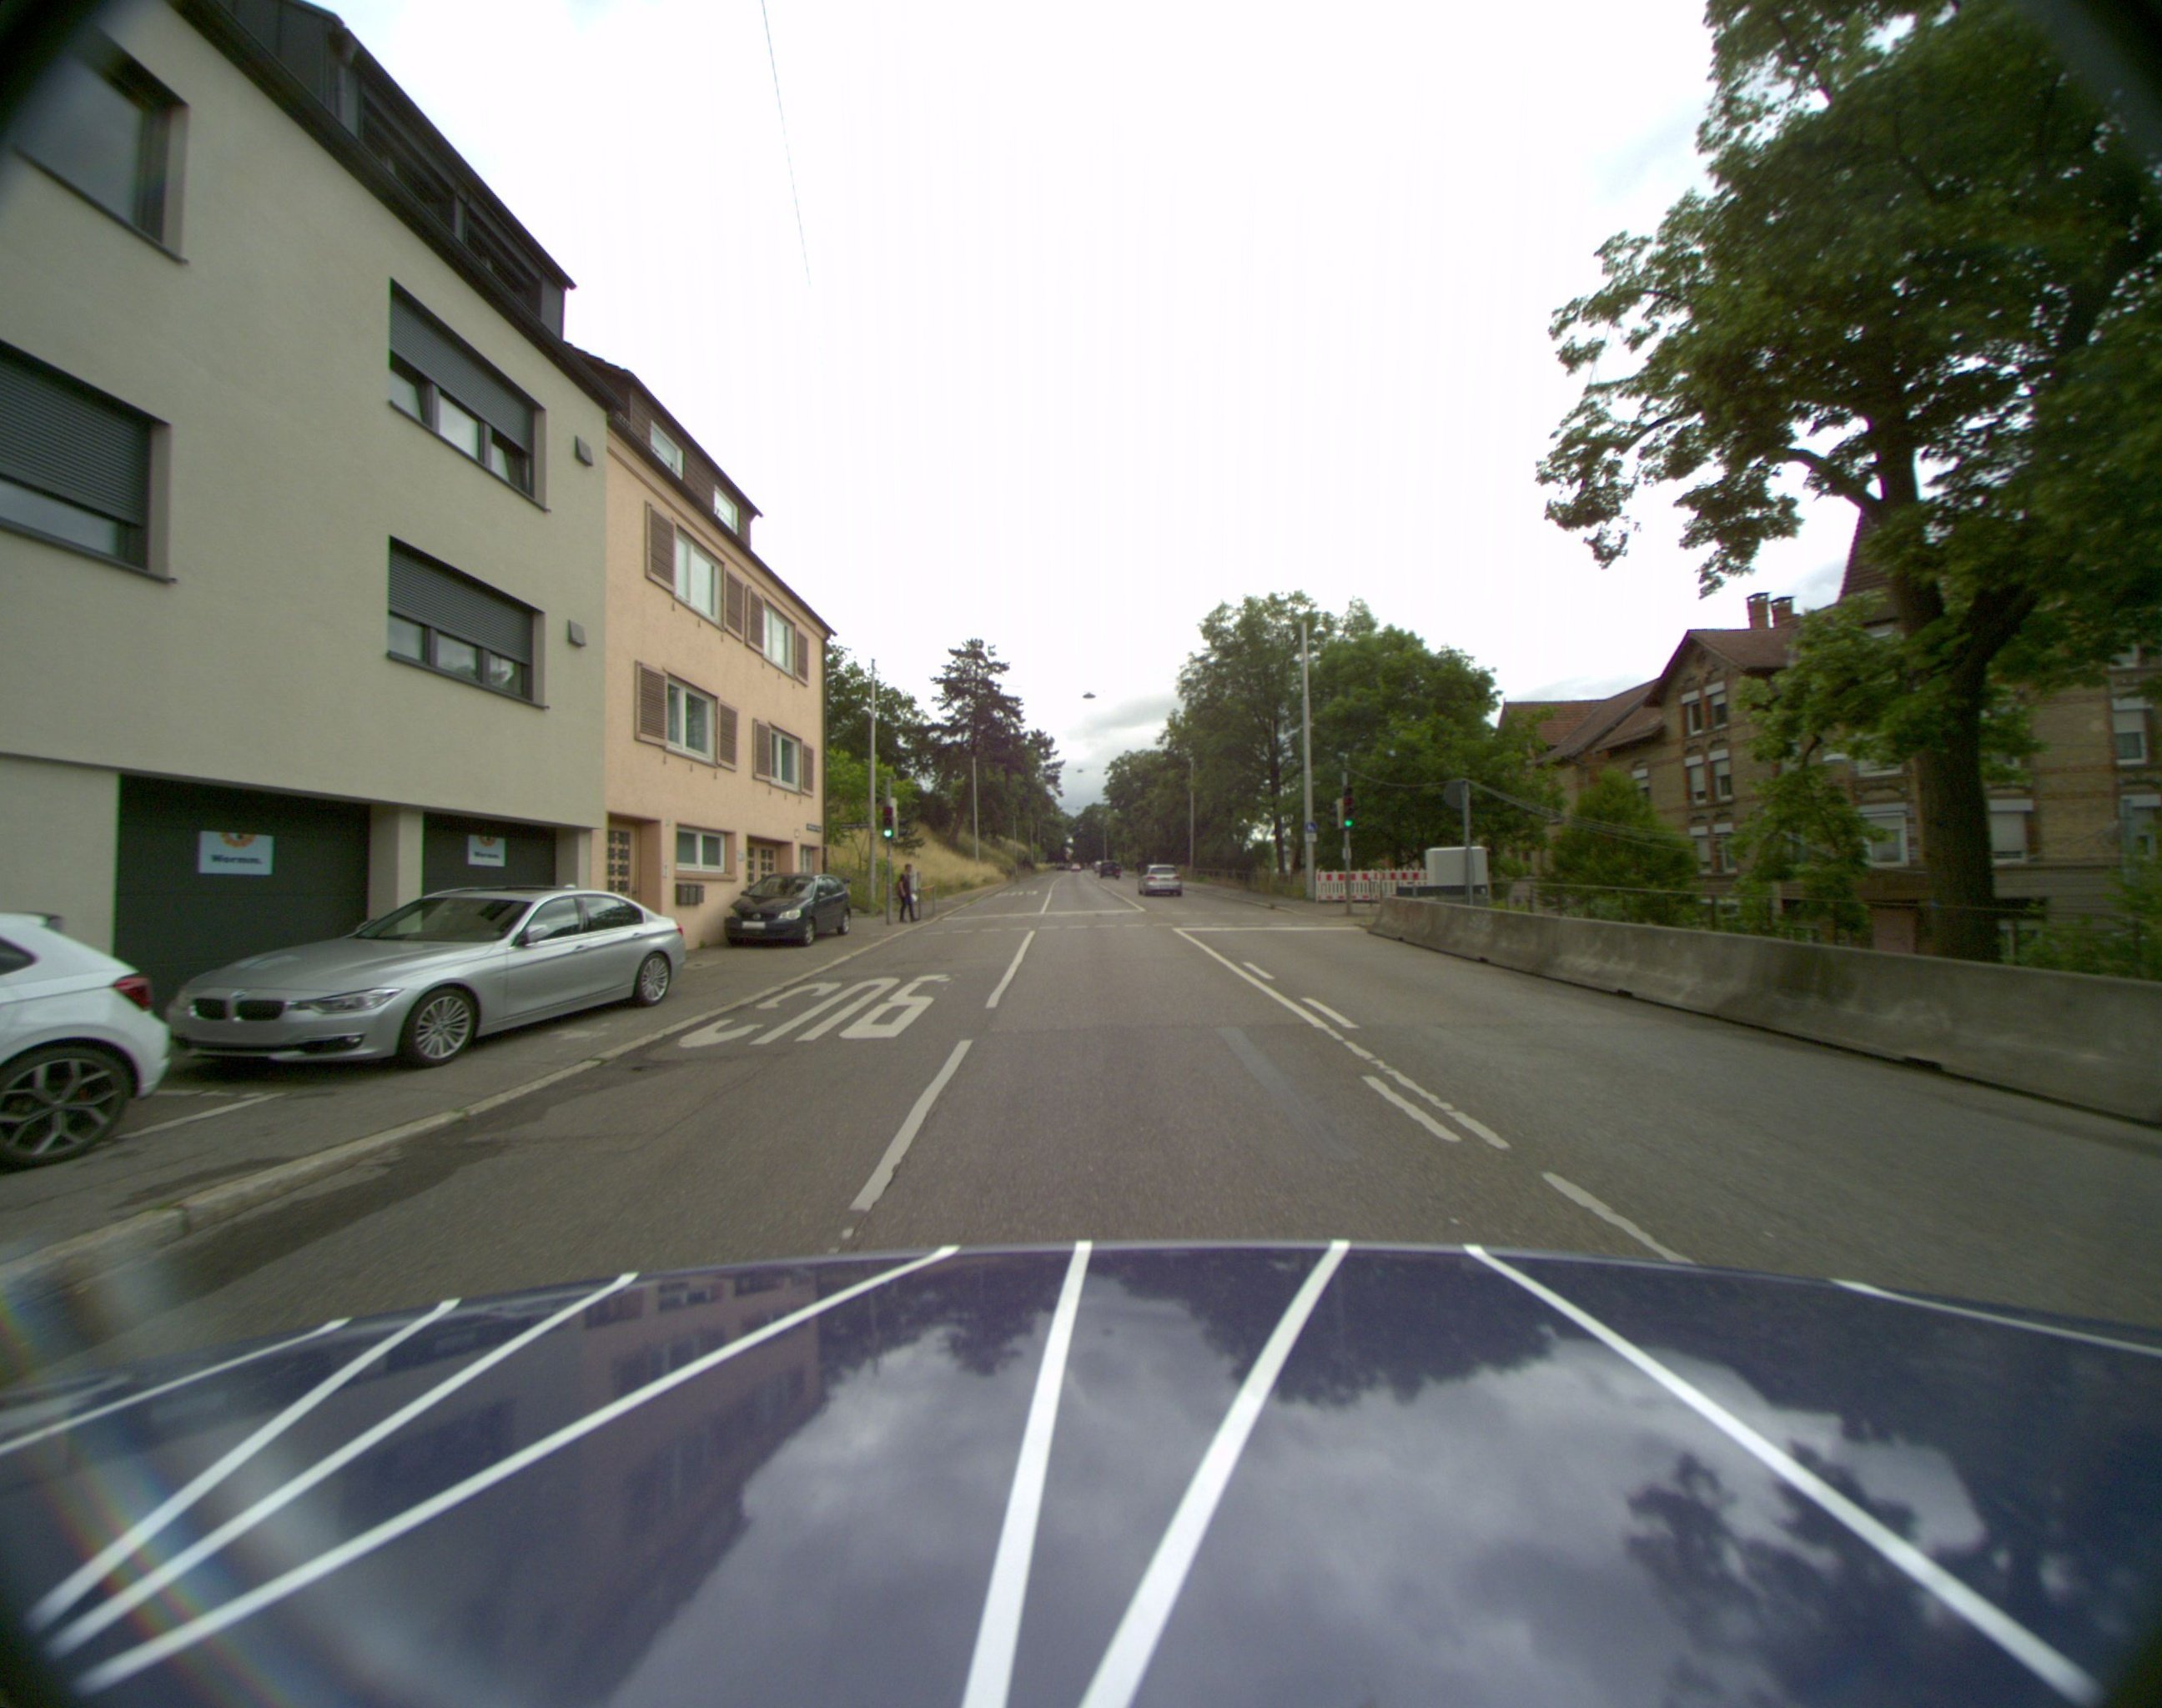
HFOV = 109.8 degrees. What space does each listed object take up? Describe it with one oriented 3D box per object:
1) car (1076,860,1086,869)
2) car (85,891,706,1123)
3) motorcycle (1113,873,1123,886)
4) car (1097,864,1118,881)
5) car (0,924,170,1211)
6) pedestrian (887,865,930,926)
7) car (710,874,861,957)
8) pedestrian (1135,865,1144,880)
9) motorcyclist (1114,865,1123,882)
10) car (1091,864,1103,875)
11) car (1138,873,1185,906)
[{"bbox_3d":[-0.022,1.897,134.216,1.788,1.565,4.281,0,-1,-1],"label":"car"},{"bbox_3d":[-6.004,1.179,7.704,1.798,1.442,4.720,2,-1,3],"label":"car"},{"bbox_3d":[3.474,2.377,70.896,0.787,1.138,2.057,0,-1,-1],"label":"motorcycle"},{"bbox_3d":[2.725,1.904,78.748,1.788,1.735,4.428,0,-1,-2],"label":"car"},{"bbox_3d":[-6.557,1.115,2.665,1.798,1.414,4.006,0,-1,4],"label":"car"},{"bbox_3d":[-5.036,1.205,22.164,0.874,1.686,0.888,-3,0,-34],"label":"pedestrian"},{"bbox_3d":[-6.245,1.224,16.555,1.686,1.442,4.000,2,0,0],"label":"car"},{"bbox_3d":[6.872,2.140,88.625,0.790,1.763,1.209,-4,-1,-3],"label":"pedestrian"},{"bbox_3d":[3.474,1.822,70.874,0.787,1.507,0.668,0,0,-1],"label":"motorcyclist"},{"bbox_3d":[2.467,2.356,116.787,1.788,1.565,4.281,0,-1,-1],"label":"car"},{"bbox_3d":[3.801,1.648,36.466,1.725,1.436,4.159,-1,-1,-1],"label":"car"}]
